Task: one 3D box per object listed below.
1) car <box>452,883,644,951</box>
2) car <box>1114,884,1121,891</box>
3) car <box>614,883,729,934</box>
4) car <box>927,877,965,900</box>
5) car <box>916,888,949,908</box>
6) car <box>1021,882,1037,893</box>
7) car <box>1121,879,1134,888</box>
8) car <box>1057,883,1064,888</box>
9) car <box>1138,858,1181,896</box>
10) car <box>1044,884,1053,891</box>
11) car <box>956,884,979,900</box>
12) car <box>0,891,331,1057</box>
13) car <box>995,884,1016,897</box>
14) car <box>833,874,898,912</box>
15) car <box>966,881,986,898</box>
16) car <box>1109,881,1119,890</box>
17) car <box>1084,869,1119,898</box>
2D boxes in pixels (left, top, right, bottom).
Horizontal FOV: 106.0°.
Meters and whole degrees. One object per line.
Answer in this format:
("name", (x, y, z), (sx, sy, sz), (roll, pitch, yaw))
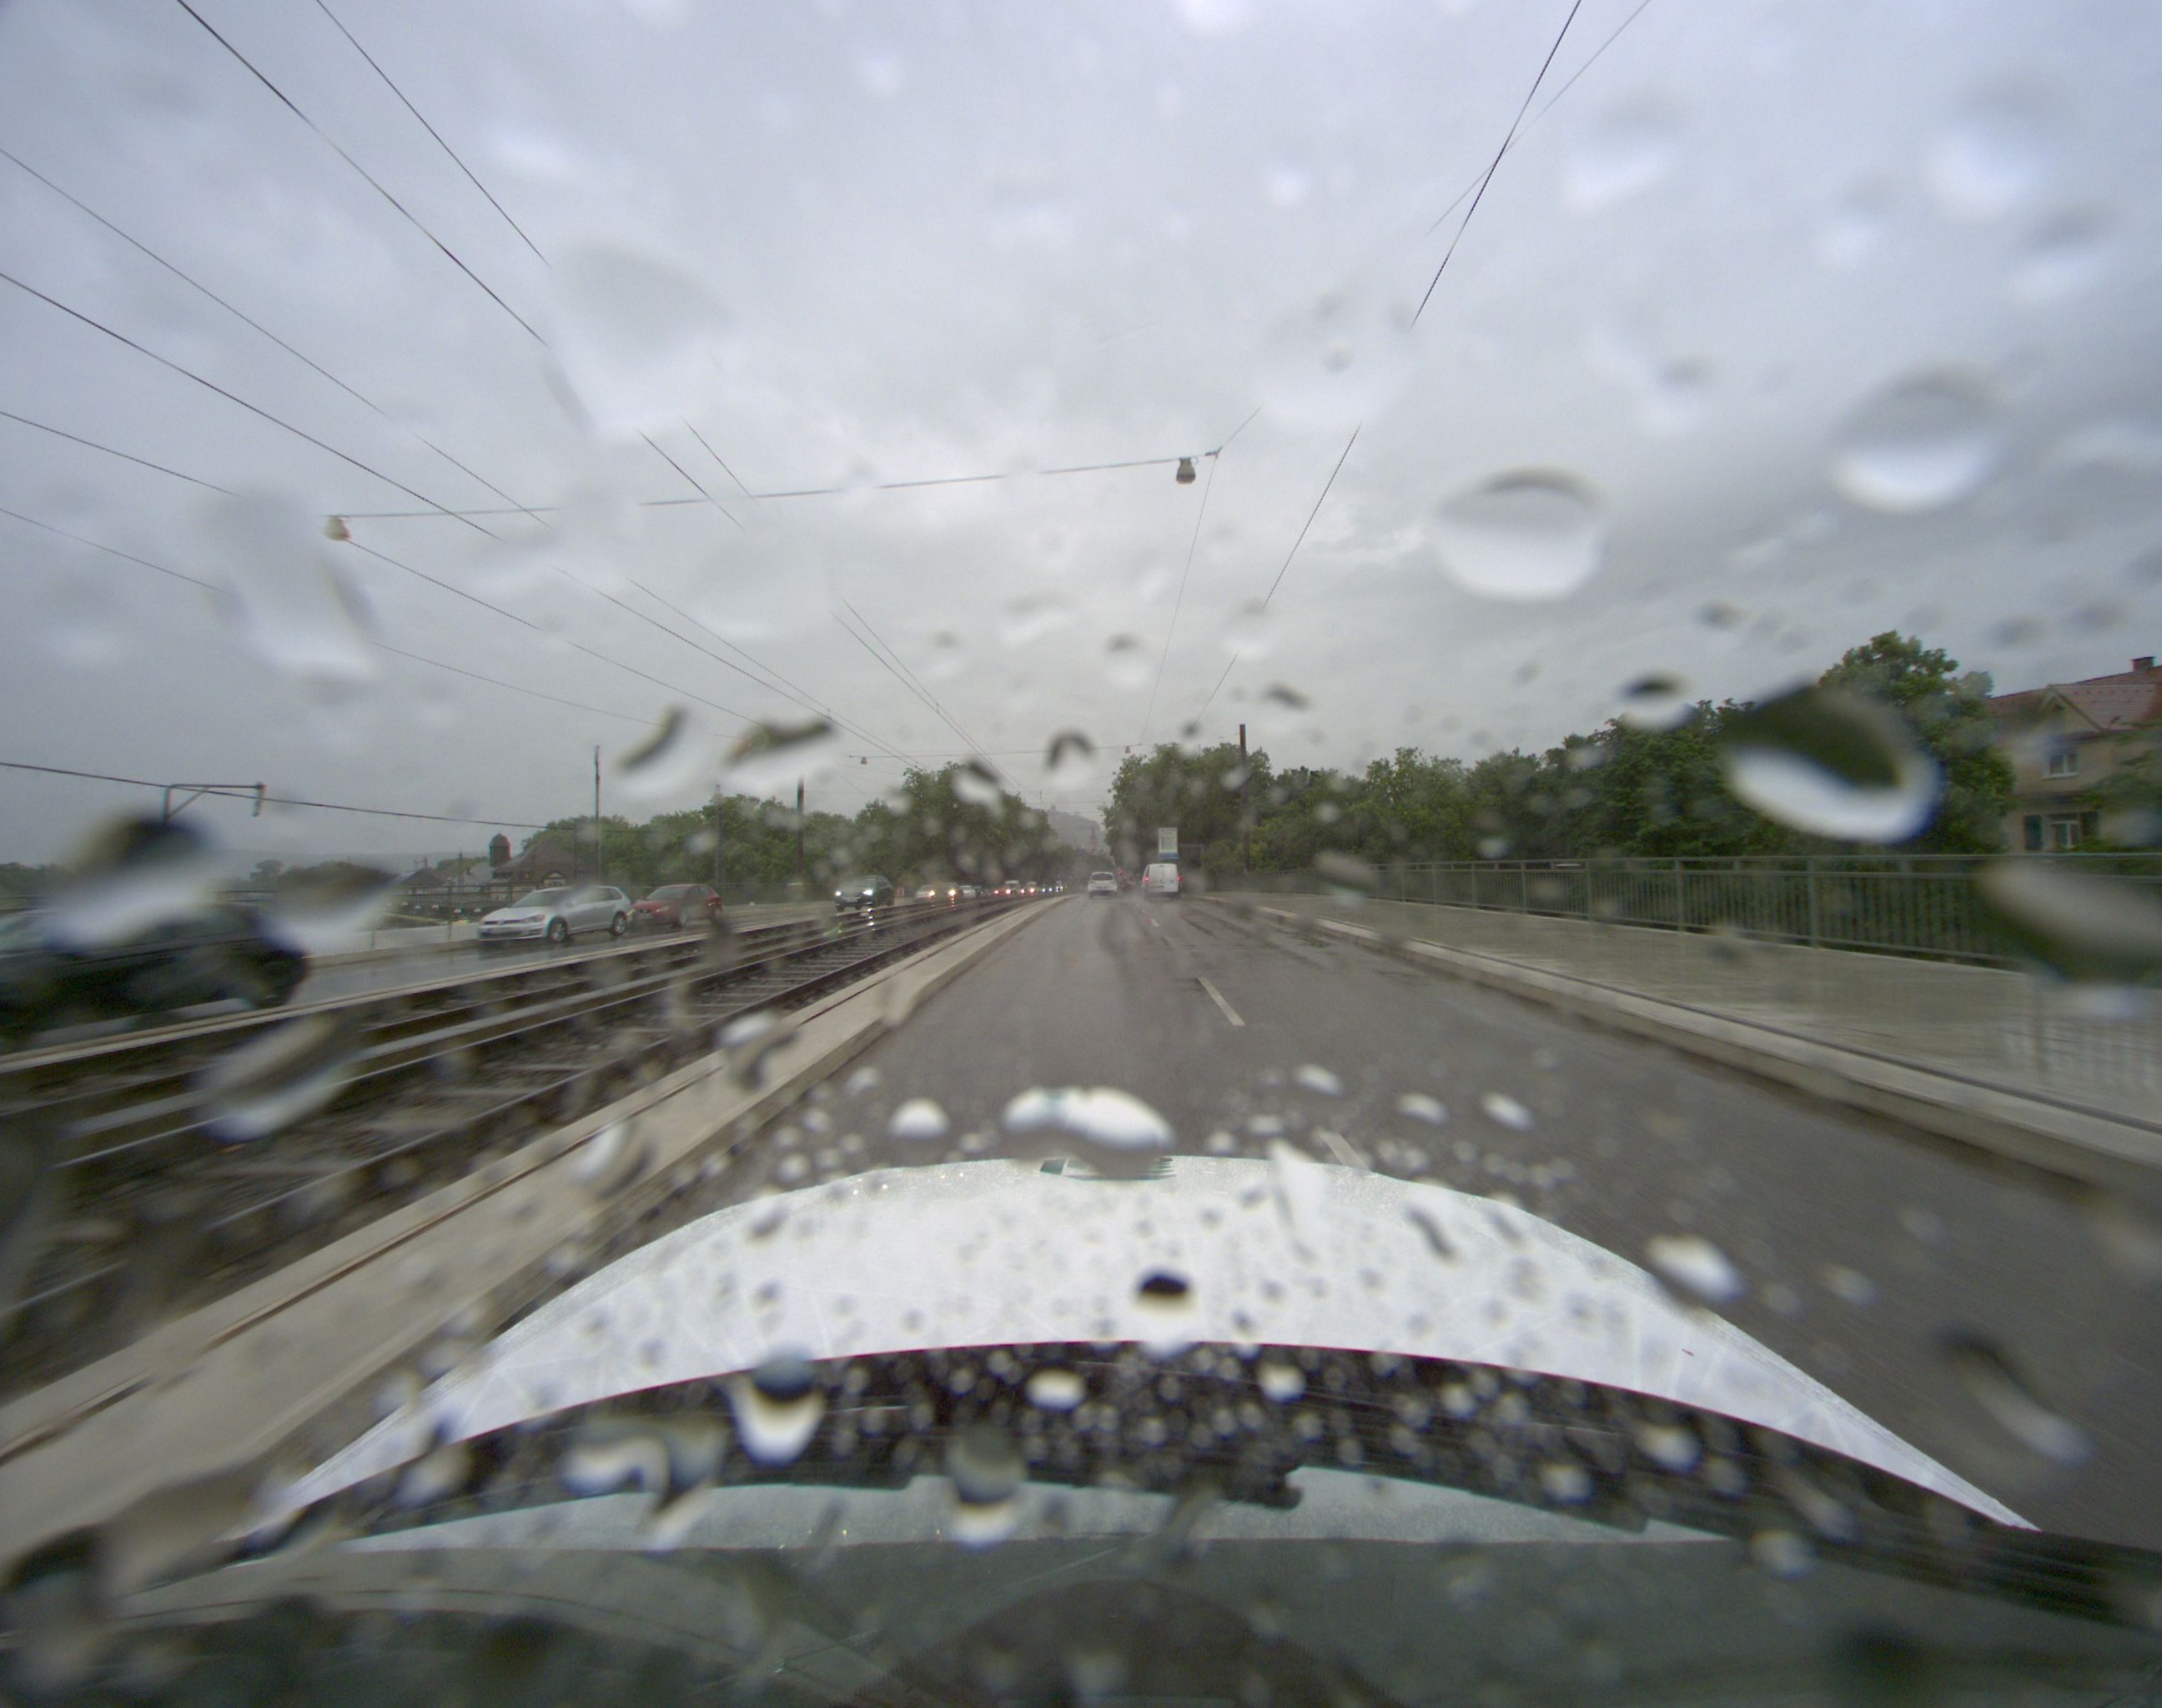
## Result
("car", (-14.038, 1.606, 21.855), (1.987, 1.456, 4.620), (-3, -1, 1))
("car", (9.692, 8.867, 216.423), (1.985, 1.827, 4.004), (0, -1, 4))
("car", (-13.827, 1.778, 27.781), (1.615, 1.456, 4.322), (-3, -1, 1))
("car", (-9.406, 2.380, 57.099), (1.792, 1.482, 4.085), (0, -1, 2))
("car", (-12.377, 3.642, 68.263), (1.857, 1.456, 4.319), (-3, -1, 1))
("car", (-7.629, 4.897, 119.679), (1.809, 1.368, 4.268), (0, 2, 2))
("car", (7.428, 4.646, 129.185), (1.985, 1.321, 4.004), (0, -1, 4))
("car", (-6.226, 9.398, 246.027), (1.798, 1.350, 4.265), (-3, -1, 2))
("car", (3.783, 1.106, 39.756), (1.985, 1.726, 4.004), (0, -1, 4))
("car", (-6.934, 7.152, 173.595), (1.500, 1.401, 4.709), (-3, -1, 2))
("car", (-11.806, 3.935, 85.187), (1.501, 1.401, 4.893), (-7, -1, 1))
("car", (-11.317, 1.266, 9.099), (1.987, 1.509, 4.092), (-3, -1, 1))
("car", (-8.372, 4.066, 90.507), (1.792, 1.316, 4.085), (0, -1, 2))
("car", (-9.988, 1.773, 38.097), (1.811, 1.654, 4.002), (0, -1, 2))
("car", (-11.738, 3.954, 91.046), (1.501, 1.672, 4.833), (-3, -1, 0))
("car", (7.125, 6.844, 176.675), (1.985, 1.827, 4.004), (0, -1, 4))
("car", (1.312, 1.825, 50.883), (1.985, 1.717, 4.004), (0, -1, 4))
